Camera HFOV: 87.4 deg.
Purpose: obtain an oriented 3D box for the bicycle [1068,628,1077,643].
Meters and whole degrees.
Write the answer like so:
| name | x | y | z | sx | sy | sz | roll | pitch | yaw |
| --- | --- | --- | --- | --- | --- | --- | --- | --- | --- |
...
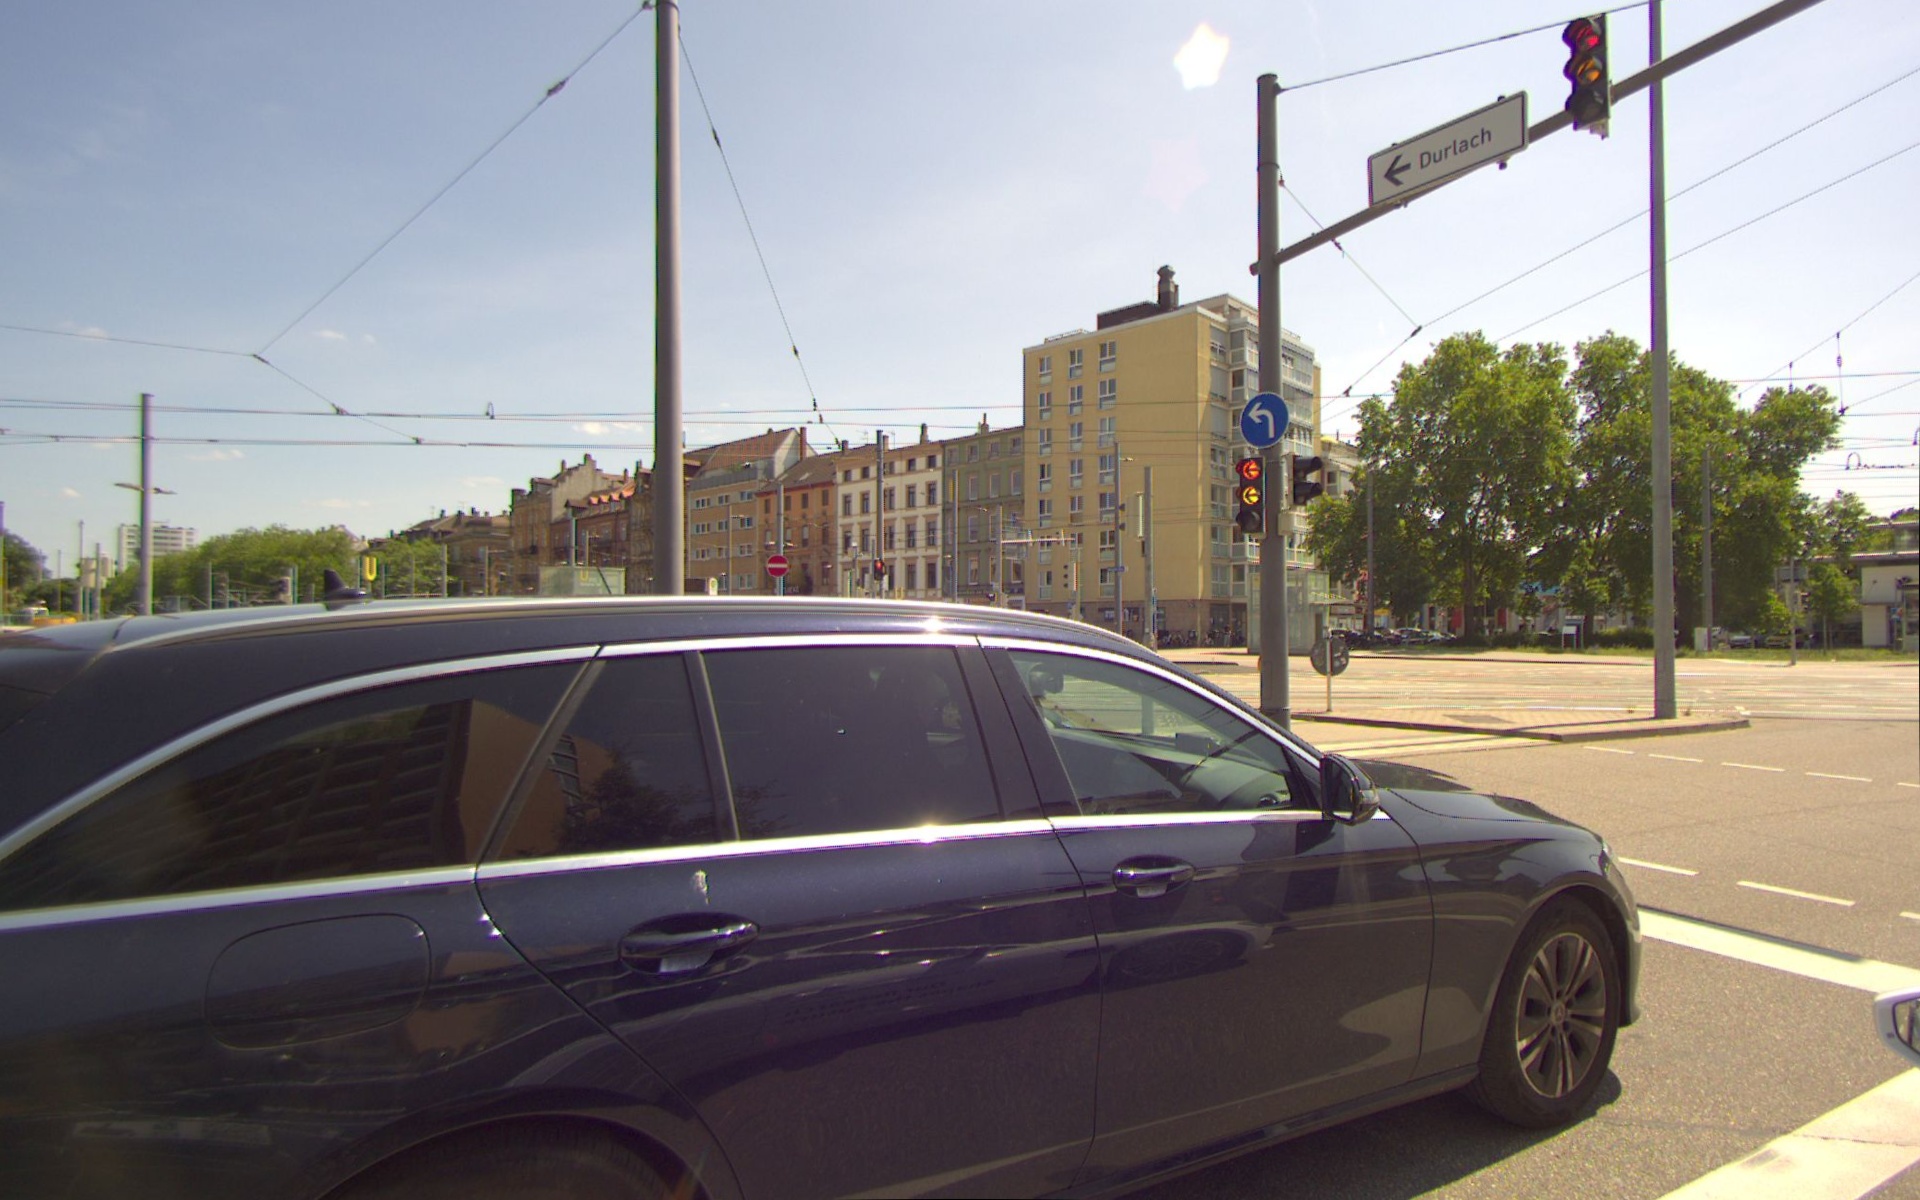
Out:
| name | x | y | z | sx | sy | sz | roll | pitch | yaw |
| --- | --- | --- | --- | --- | --- | --- | --- | --- | --- |
| bicycle | 8.363 | 2.629 | 74.350 | 0.424 | 1.040 | 1.445 | 0 | -1 | 16 |

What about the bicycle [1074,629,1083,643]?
| name | x | y | z | sx | sy | sz | roll | pitch | yaw |
| --- | --- | --- | --- | --- | --- | --- | --- | --- | --- |
| bicycle | 8.705 | 2.638 | 74.011 | 0.424 | 1.040 | 1.445 | 0 | -1 | 16 |

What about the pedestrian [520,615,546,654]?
| name | x | y | z | sx | sy | sz | roll | pitch | yaw |
| --- | --- | --- | --- | --- | --- | --- | --- | --- | --- |
| pedestrian | -20.365 | 1.642 | 47.857 | 1.114 | 1.837 | 0.677 | -1 | -2 | 38 |

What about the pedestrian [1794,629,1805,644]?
| name | x | y | z | sx | sy | sz | roll | pitch | yaw |
| --- | --- | --- | --- | --- | --- | --- | --- | --- | --- |
| pedestrian | 67.121 | 2.931 | 80.344 | 0.439 | 1.220 | 0.511 | 1 | -1 | -24 |

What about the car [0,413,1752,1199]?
| name | x | y | z | sx | sy | sz | roll | pitch | yaw |
| --- | --- | --- | --- | --- | --- | --- | --- | --- | --- |
| car | 0.056 | 0.642 | 2.850 | 4.747 | 1.662 | 1.789 | 1 | 0 | -30 |

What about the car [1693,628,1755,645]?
| name | x | y | z | sx | sy | sz | roll | pitch | yaw |
| --- | --- | --- | --- | --- | --- | --- | --- | --- | --- |
| car | 70.919 | 3.406 | 93.275 | 4.245 | 1.530 | 1.771 | -1 | -2 | 26 |

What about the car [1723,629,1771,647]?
| name | x | y | z | sx | sy | sz | roll | pitch | yaw |
| --- | --- | --- | --- | --- | --- | --- | --- | --- | --- |
| car | 68.239 | 3.241 | 87.058 | 4.274 | 1.530 | 1.759 | 1 | -2 | -29 |

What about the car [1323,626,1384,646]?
| name | x | y | z | sx | sy | sz | roll | pitch | yaw |
| --- | --- | --- | --- | --- | --- | --- | --- | --- | --- |
| car | 29.759 | 2.694 | 76.053 | 3.935 | 1.439 | 1.993 | -1 | -2 | 36 |

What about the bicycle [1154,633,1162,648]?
| name | x | y | z | sx | sy | sz | roll | pitch | yaw |
| --- | --- | --- | --- | --- | --- | --- | --- | --- | --- |
| bicycle | 13.623 | 2.766 | 69.137 | 0.424 | 1.040 | 1.445 | 0 | -1 | 16 |

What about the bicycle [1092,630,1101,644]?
| name | x | y | z | sx | sy | sz | roll | pitch | yaw |
| --- | --- | --- | --- | --- | --- | --- | --- | --- | --- |
| bicycle | 9.935 | 2.671 | 72.969 | 0.424 | 1.040 | 1.445 | 0 | -1 | 16 |

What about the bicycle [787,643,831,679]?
| name | x | y | z | sx | sy | sz | roll | pitch | yaw |
| --- | --- | --- | --- | --- | --- | --- | --- | --- | --- |
| bicycle | -3.988 | 1.593 | 26.393 | 0.620 | 0.866 | 1.887 | 1 | -2 | -26 |

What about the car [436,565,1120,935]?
| name | x | y | z | sx | sy | sz | roll | pitch | yaw |
| --- | --- | --- | --- | --- | --- | --- | --- | --- | --- |
| car | -1.035 | 0.695 | 6.029 | 3.692 | 1.597 | 1.736 | 1 | -2 | -30 |

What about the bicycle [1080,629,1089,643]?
| name | x | y | z | sx | sy | sz | roll | pitch | yaw |
| --- | --- | --- | --- | --- | --- | --- | --- | --- | --- |
| bicycle | 9.132 | 2.649 | 73.574 | 0.424 | 1.040 | 1.445 | 0 | -1 | 16 |

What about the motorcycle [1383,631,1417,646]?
| name | x | y | z | sx | sy | sz | roll | pitch | yaw |
| --- | --- | --- | --- | --- | --- | --- | --- | --- | --- |
| motorcycle | 27.691 | 2.421 | 63.211 | 1.887 | 0.974 | 0.524 | -1 | -1 | 31 |

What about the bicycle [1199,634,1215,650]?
| name | x | y | z | sx | sy | sz | roll | pitch | yaw |
| --- | --- | --- | --- | --- | --- | --- | --- | --- | --- |
| bicycle | 16.781 | 2.862 | 68.292 | 0.427 | 1.040 | 1.435 | -1 | -2 | 44 |

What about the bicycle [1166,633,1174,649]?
| name | x | y | z | sx | sy | sz | roll | pitch | yaw |
| --- | --- | --- | --- | --- | --- | --- | --- | --- | --- |
| bicycle | 14.367 | 2.787 | 68.561 | 0.424 | 1.040 | 1.445 | 0 | -1 | 16 |

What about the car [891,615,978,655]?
| name | x | y | z | sx | sy | sz | roll | pitch | yaw |
| --- | --- | --- | --- | --- | --- | --- | --- | --- | --- |
| car | -1.419 | 1.864 | 53.999 | 1.987 | 2.084 | 4.807 | 1 | -2 | -44 |

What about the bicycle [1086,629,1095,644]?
| name | x | y | z | sx | sy | sz | roll | pitch | yaw |
| --- | --- | --- | --- | --- | --- | --- | --- | --- | --- |
| bicycle | 9.493 | 2.659 | 73.266 | 0.424 | 1.040 | 1.445 | 0 | -1 | 16 |

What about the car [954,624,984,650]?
| name | x | y | z | sx | sy | sz | roll | pitch | yaw |
| --- | --- | --- | --- | --- | --- | --- | --- | --- | --- |
| car | 0.578 | 2.588 | 70.488 | 1.803 | 1.773 | 3.998 | 0 | -1 | -4 |

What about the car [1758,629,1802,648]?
| name | x | y | z | sx | sy | sz | roll | pitch | yaw |
| --- | --- | --- | --- | --- | --- | --- | --- | --- | --- |
| car | 69.040 | 3.223 | 84.589 | 4.283 | 1.530 | 1.756 | 1 | -2 | -35 |

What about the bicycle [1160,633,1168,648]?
| name | x | y | z | sx | sy | sz | roll | pitch | yaw |
| --- | --- | --- | --- | --- | --- | --- | --- | --- | --- |
| bicycle | 13.997 | 2.777 | 68.826 | 0.424 | 1.040 | 1.445 | 0 | -1 | 16 |

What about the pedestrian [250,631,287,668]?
| name | x | y | z | sx | sy | sz | roll | pitch | yaw |
| --- | --- | --- | --- | --- | --- | --- | --- | --- | --- |
| pedestrian | -24.942 | 1.778 | 36.232 | 0.978 | 1.352 | 0.527 | 0 | -1 | 2 |

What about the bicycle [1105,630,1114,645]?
| name | x | y | z | sx | sy | sz | roll | pitch | yaw |
| --- | --- | --- | --- | --- | --- | --- | --- | --- | --- |
| bicycle | 10.769 | 2.694 | 72.313 | 0.424 | 1.040 | 1.445 | 0 | -1 | 16 |

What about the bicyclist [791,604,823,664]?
| name | x | y | z | sx | sy | sz | roll | pitch | yaw |
| --- | --- | --- | --- | --- | --- | --- | --- | --- | --- |
| bicyclist | -4.054 | 0.889 | 26.581 | 0.433 | 1.549 | 1.245 | 2 | 0 | -26 |

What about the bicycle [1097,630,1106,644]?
| name | x | y | z | sx | sy | sz | roll | pitch | yaw |
| --- | --- | --- | --- | --- | --- | --- | --- | --- | --- |
| bicycle | 10.251 | 2.679 | 72.572 | 0.424 | 1.040 | 1.445 | 0 | -1 | 16 |
